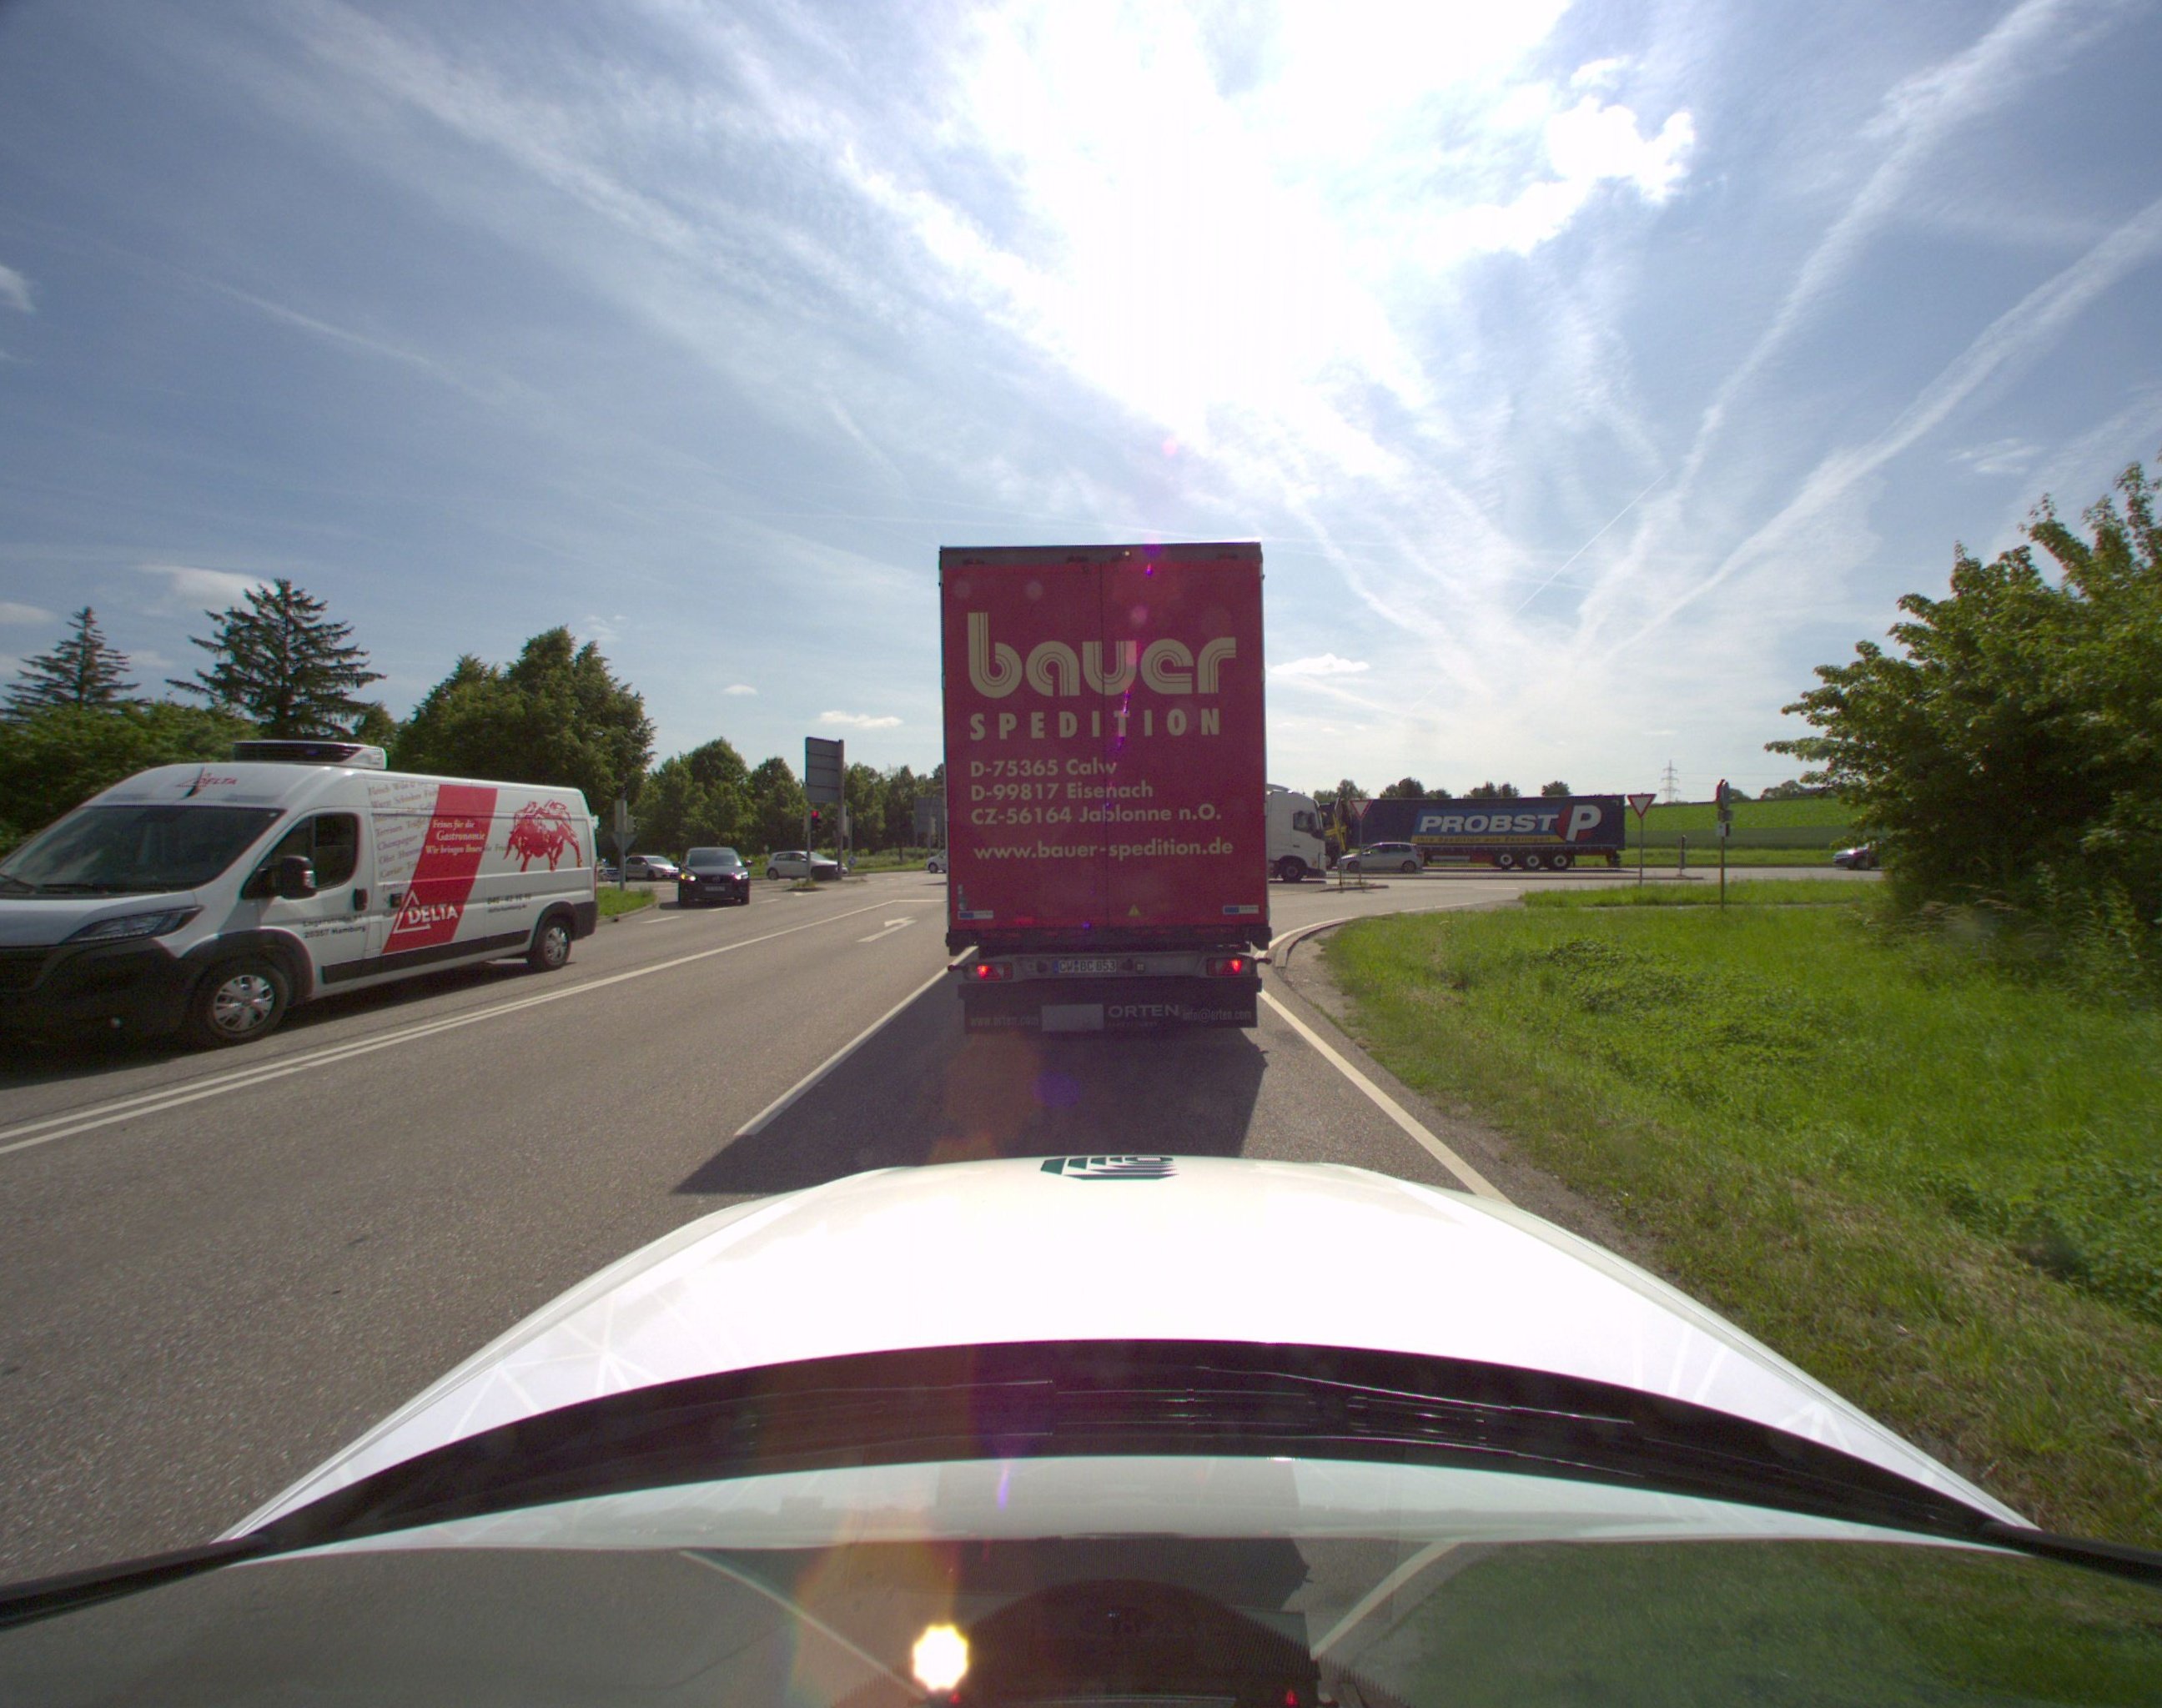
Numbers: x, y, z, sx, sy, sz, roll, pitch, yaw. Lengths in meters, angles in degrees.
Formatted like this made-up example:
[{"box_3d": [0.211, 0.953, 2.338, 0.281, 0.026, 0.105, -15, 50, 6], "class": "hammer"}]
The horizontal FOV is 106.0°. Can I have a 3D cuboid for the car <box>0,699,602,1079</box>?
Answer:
[{"box_3d": [-7.861, 0.215, 8.660, 2.112, 2.654, 5.982, 0, 1, -2], "class": "car"}]

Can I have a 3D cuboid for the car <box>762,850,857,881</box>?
[{"box_3d": [-13.479, 0.537, 40.391, 4.211, 1.461, 1.819, 0, 1, 20], "class": "car"}]

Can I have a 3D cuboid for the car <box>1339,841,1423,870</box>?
[{"box_3d": [15.488, 0.075, 42.234, 3.964, 1.491, 1.544, 0, 0, 16], "class": "car"}]

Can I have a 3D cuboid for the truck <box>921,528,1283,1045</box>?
[{"box_3d": [0.391, -0.575, 14.562, 2.724, 3.925, 16.631, -1, 0, 2], "class": "truck"}]

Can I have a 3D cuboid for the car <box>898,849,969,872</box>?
[{"box_3d": [-8.909, 0.392, 49.213, 3.816, 1.357, 1.684, -1, -1, 20], "class": "car"}]

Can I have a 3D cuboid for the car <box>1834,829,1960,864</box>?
[{"box_3d": [38.720, -0.351, 38.785, 3.949, 1.596, 1.675, 0, -1, 30], "class": "car"}]

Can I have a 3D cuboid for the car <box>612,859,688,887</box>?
[{"box_3d": [-23.574, 1.006, 44.540, 3.996, 1.416, 1.806, 0, 1, 29], "class": "car"}]

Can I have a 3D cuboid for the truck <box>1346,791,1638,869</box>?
[{"box_3d": [22.295, -1.257, 45.370, 14.163, 3.979, 3.043, 0, 1, 19], "class": "truck"}]

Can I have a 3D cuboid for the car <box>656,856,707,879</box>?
[{"box_3d": [-30.222, 1.032, 61.586, 4.059, 1.547, 1.885, -2, 0, 39], "class": "car"}]

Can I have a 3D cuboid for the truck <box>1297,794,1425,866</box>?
[{"box_3d": [16.290, -1.343, 47.520, 6.872, 3.993, 3.043, 0, 1, 20], "class": "truck"}]

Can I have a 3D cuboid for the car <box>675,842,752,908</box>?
[{"box_3d": [-10.778, 0.560, 23.985, 1.875, 1.750, 4.078, -1, 0, -24], "class": "car"}]

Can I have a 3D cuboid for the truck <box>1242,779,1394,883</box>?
[{"box_3d": [9.665, -0.910, 33.725, 5.787, 4.061, 2.808, 0, 1, 12], "class": "truck"}]

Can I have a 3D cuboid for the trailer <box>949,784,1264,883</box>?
[{"box_3d": [1.091, -0.834, 36.111, 13.586, 4.061, 2.809, 0, 1, 14], "class": "trailer"}]

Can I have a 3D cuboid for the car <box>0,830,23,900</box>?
[{"box_3d": [-35.700, 0.334, 24.304, 4.601, 2.180, 1.985, 0, 0, -22], "class": "car"}]
